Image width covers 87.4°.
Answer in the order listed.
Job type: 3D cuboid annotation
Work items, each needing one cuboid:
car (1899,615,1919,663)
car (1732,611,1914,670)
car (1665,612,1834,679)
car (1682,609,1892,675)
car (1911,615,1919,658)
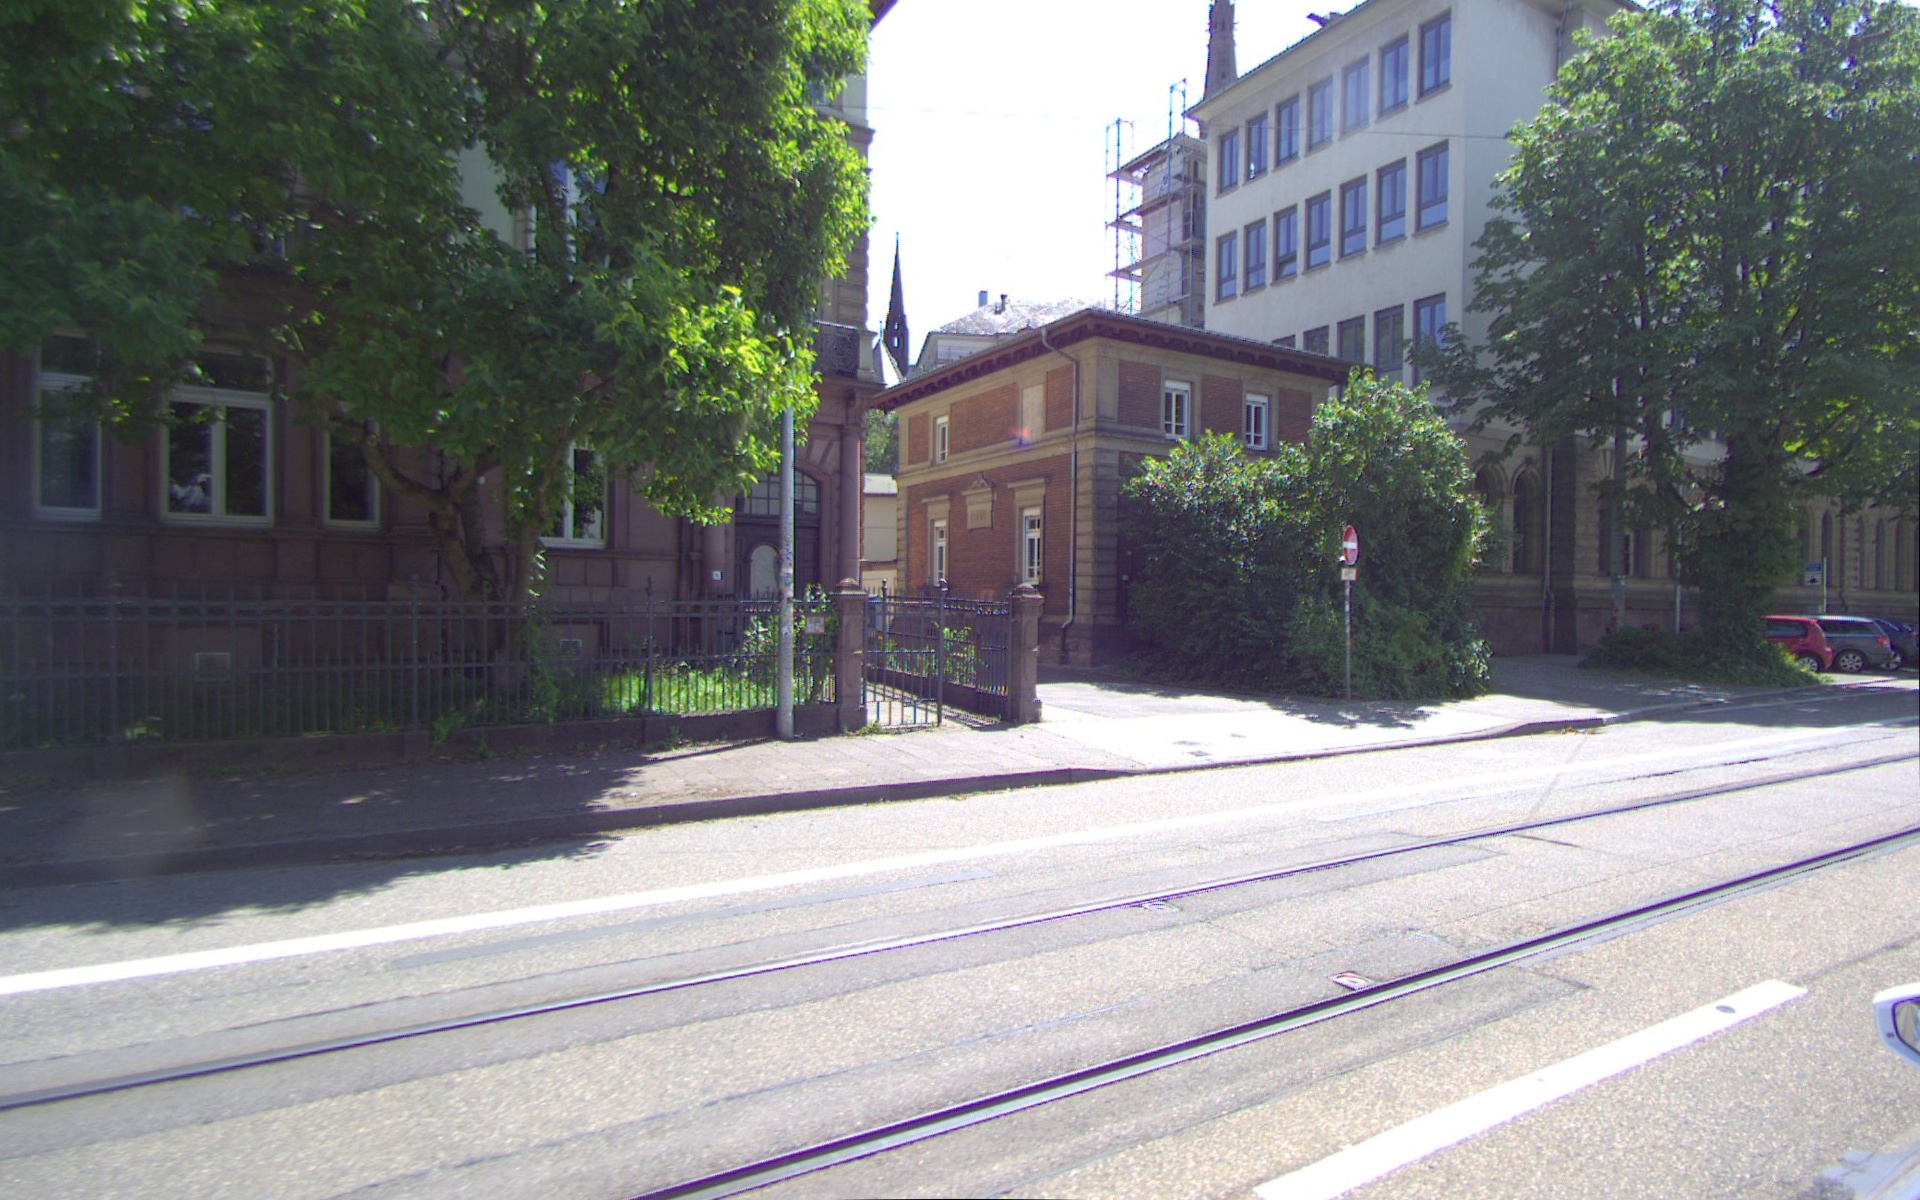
[{"bbox_3d":[29.920,1.145,29.008,3.868,1.392,1.664,0,0,35],"label":"car"},{"bbox_3d":[25.095,1.131,29.391,3.751,1.598,1.790,0,0,31],"label":"car"},{"bbox_3d":[20.342,1.122,26.048,3.296,1.536,1.664,1,1,34],"label":"car"},{"bbox_3d":[22.742,1.102,27.860,4.246,1.606,1.666,2,1,31],"label":"car"},{"bbox_3d":[36.797,1.383,36.021,3.613,1.540,1.665,2,1,32],"label":"car"}]
